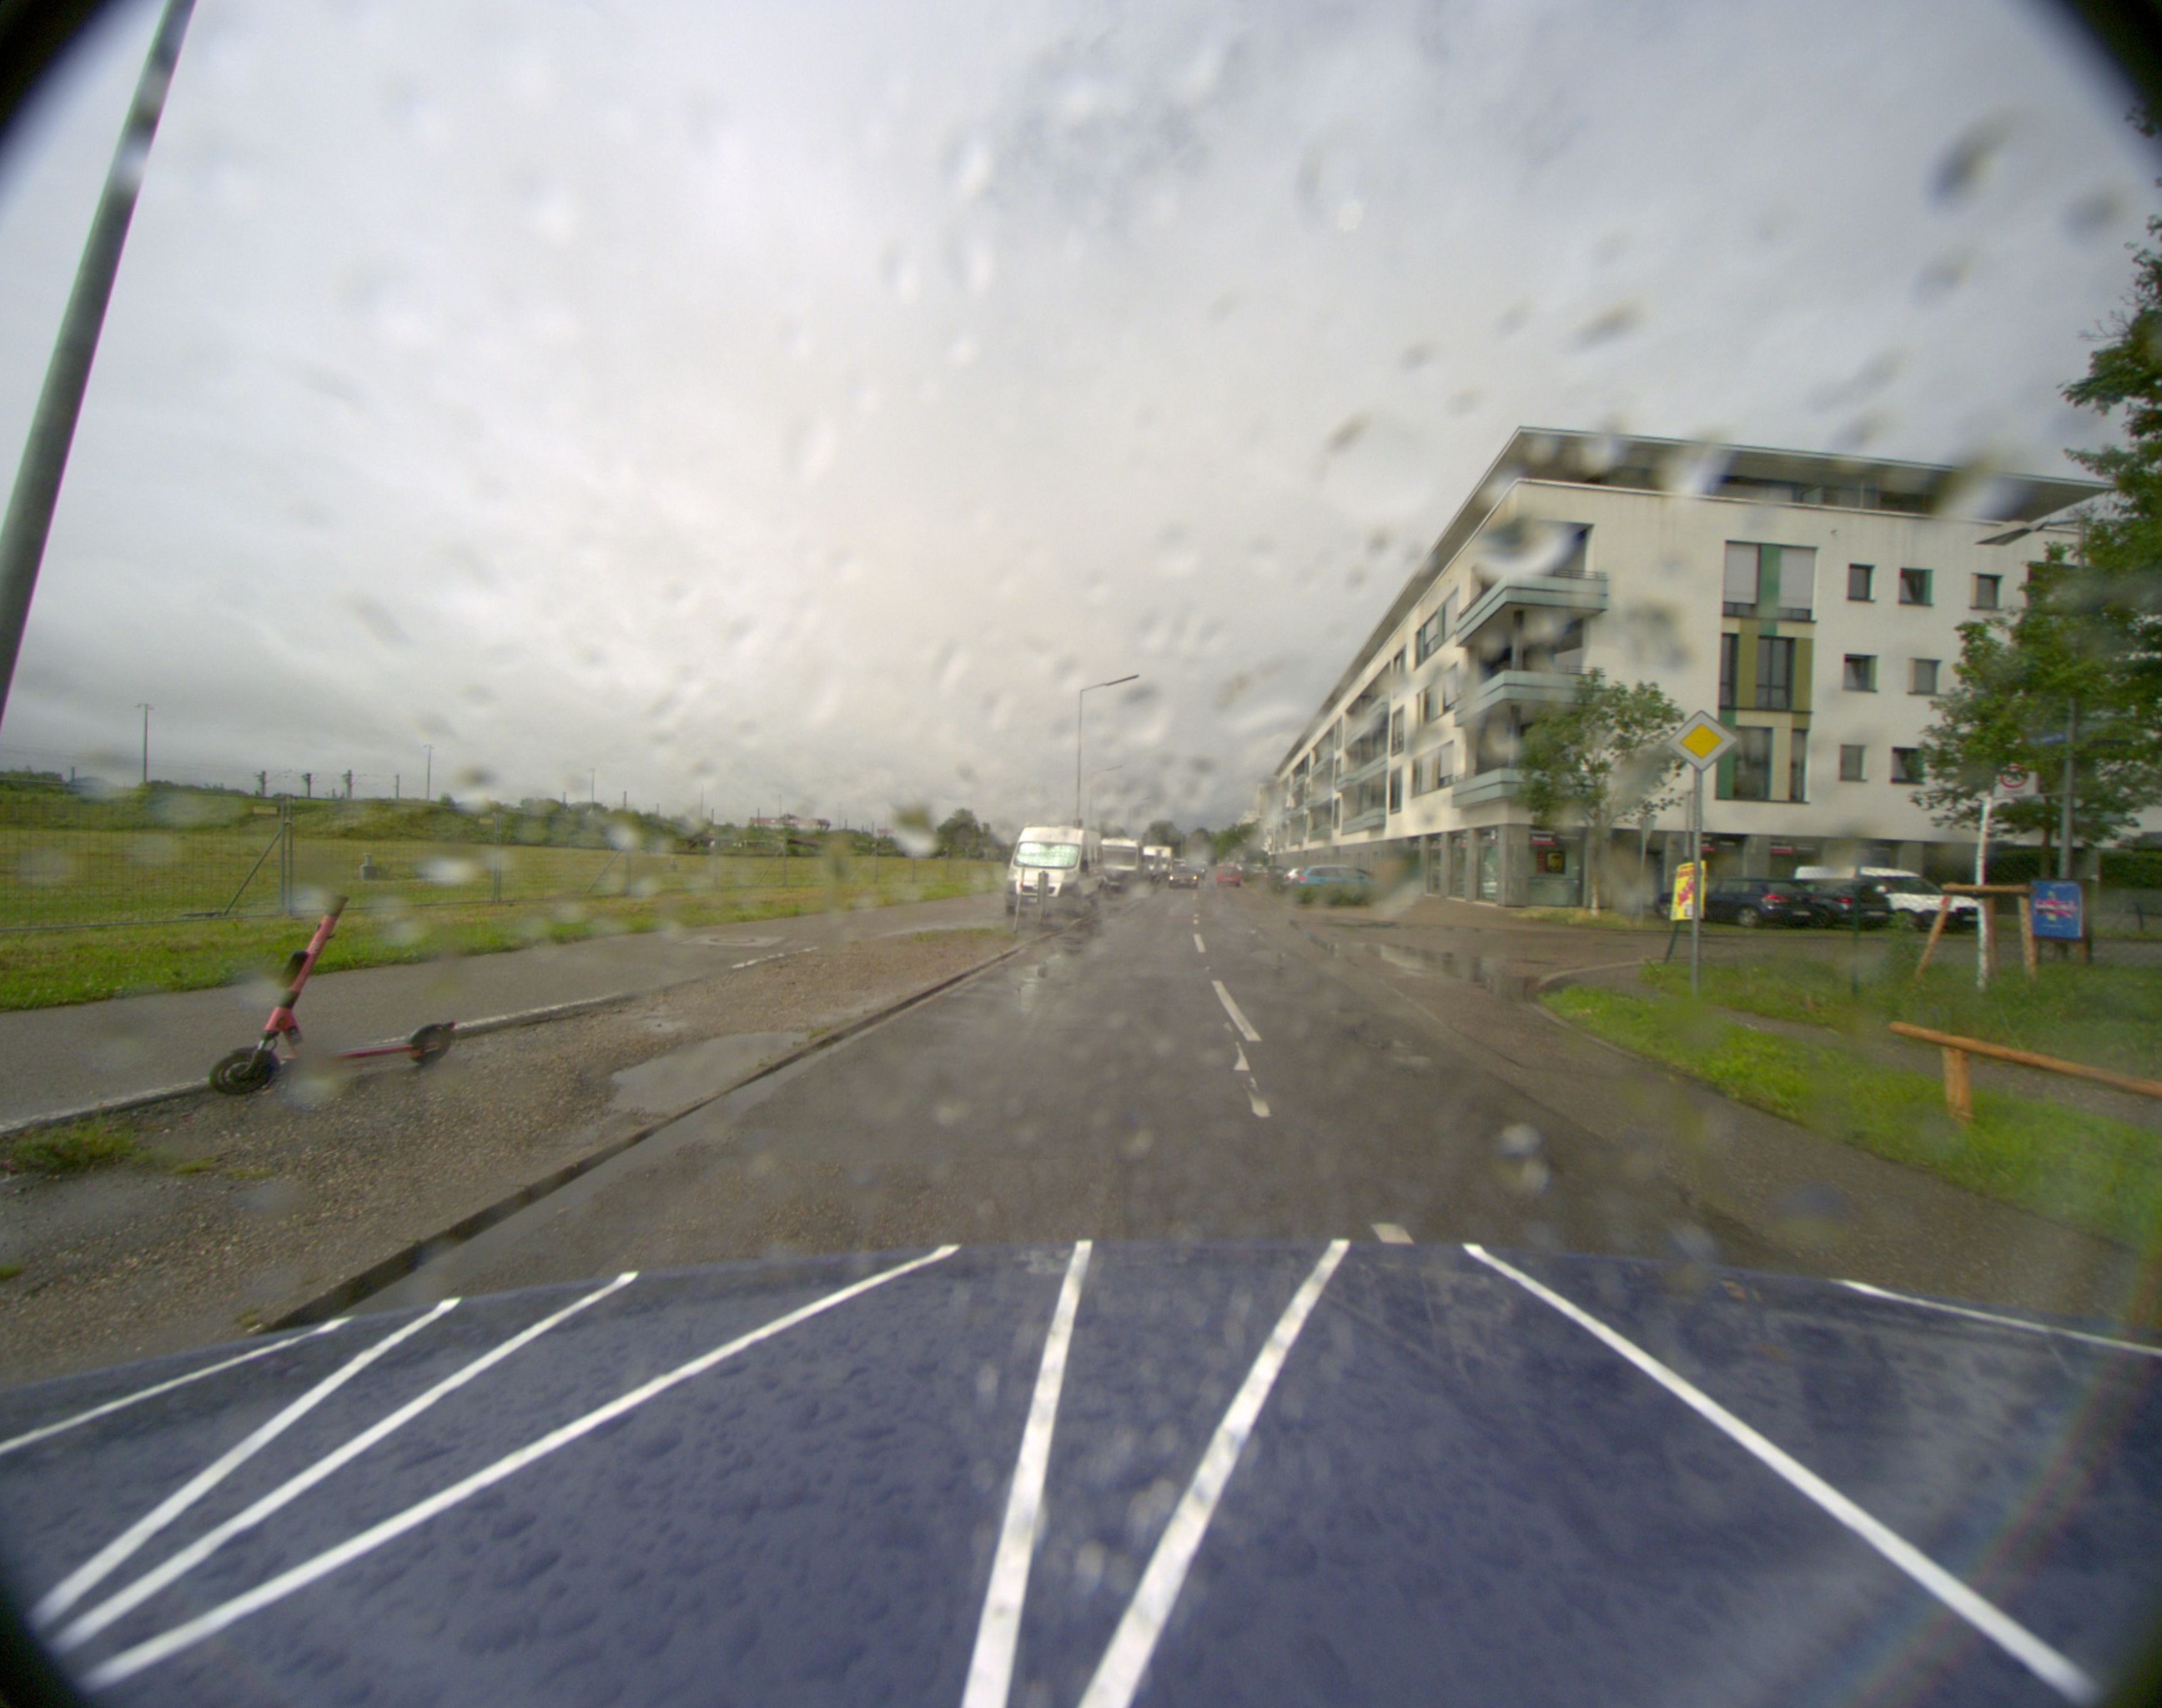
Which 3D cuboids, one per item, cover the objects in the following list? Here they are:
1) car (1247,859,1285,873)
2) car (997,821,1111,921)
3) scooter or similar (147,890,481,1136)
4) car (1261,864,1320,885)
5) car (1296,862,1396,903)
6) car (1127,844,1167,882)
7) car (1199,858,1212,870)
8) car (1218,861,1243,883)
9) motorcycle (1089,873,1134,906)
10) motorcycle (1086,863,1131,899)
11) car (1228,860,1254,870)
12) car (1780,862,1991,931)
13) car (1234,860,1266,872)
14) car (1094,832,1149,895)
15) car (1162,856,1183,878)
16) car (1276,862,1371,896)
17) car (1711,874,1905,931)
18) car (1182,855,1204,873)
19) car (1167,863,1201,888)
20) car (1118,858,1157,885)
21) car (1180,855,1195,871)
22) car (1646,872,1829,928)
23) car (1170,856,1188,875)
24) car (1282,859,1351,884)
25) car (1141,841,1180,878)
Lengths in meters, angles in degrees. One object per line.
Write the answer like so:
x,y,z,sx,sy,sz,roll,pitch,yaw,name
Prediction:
19.835,1.301,81.566,3.795,1.362,1.746,-1,0,9,car
-0.603,0.422,22.511,2.095,2.458,5.952,3,1,10,car
-4.569,0.859,4.648,0.491,1.208,1.342,2,0,18,scooter or similar
14.261,1.394,51.853,3.737,1.365,1.646,0,0,10,car
11.230,1.187,32.443,3.816,1.624,1.757,-1,0,12,car
4.897,0.637,55.610,2.071,2.514,6.664,3,0,11,car
21.933,1.681,133.848,1.997,2.002,4.002,-1,0,8,car
10.736,1.289,54.504,1.659,1.459,3.393,2,0,12,car
1.244,1.470,31.281,1.676,1.188,0.648,4,1,-12,motorcycle
1.095,1.085,30.274,1.648,1.367,0.721,1,1,-7,motorcycle
24.000,1.685,114.024,3.795,1.362,1.746,-1,0,9,car
24.775,1.214,23.668,1.643,1.825,4.346,0,1,-8,car
21.289,1.539,96.028,3.795,1.362,1.746,-1,0,9,car
2.162,0.458,38.976,2.148,2.867,5.279,4,1,8,car
9.733,1.370,80.511,1.997,2.228,4.567,2,0,10,car
11.898,1.212,37.485,4.180,1.540,1.861,-1,0,9,car
22.079,1.404,23.326,1.688,1.388,4.125,0,1,-8,car
11.147,0.999,75.761,2.009,1.695,4.332,2,0,8,car
6.712,1.358,49.106,1.872,1.510,4.362,-2,-1,11,car
3.548,1.027,46.985,1.732,1.485,4.445,3,0,11,car
16.003,1.350,114.372,1.997,2.228,4.567,2,0,10,car
19.869,1.332,23.284,1.643,1.388,4.184,0,1,-8,car
12.249,1.362,94.468,1.997,2.228,4.567,2,0,10,car
13.887,1.024,44.940,3.665,1.369,1.688,-1,-1,7,car
7.018,0.447,66.113,2.474,2.938,6.894,3,0,12,car
